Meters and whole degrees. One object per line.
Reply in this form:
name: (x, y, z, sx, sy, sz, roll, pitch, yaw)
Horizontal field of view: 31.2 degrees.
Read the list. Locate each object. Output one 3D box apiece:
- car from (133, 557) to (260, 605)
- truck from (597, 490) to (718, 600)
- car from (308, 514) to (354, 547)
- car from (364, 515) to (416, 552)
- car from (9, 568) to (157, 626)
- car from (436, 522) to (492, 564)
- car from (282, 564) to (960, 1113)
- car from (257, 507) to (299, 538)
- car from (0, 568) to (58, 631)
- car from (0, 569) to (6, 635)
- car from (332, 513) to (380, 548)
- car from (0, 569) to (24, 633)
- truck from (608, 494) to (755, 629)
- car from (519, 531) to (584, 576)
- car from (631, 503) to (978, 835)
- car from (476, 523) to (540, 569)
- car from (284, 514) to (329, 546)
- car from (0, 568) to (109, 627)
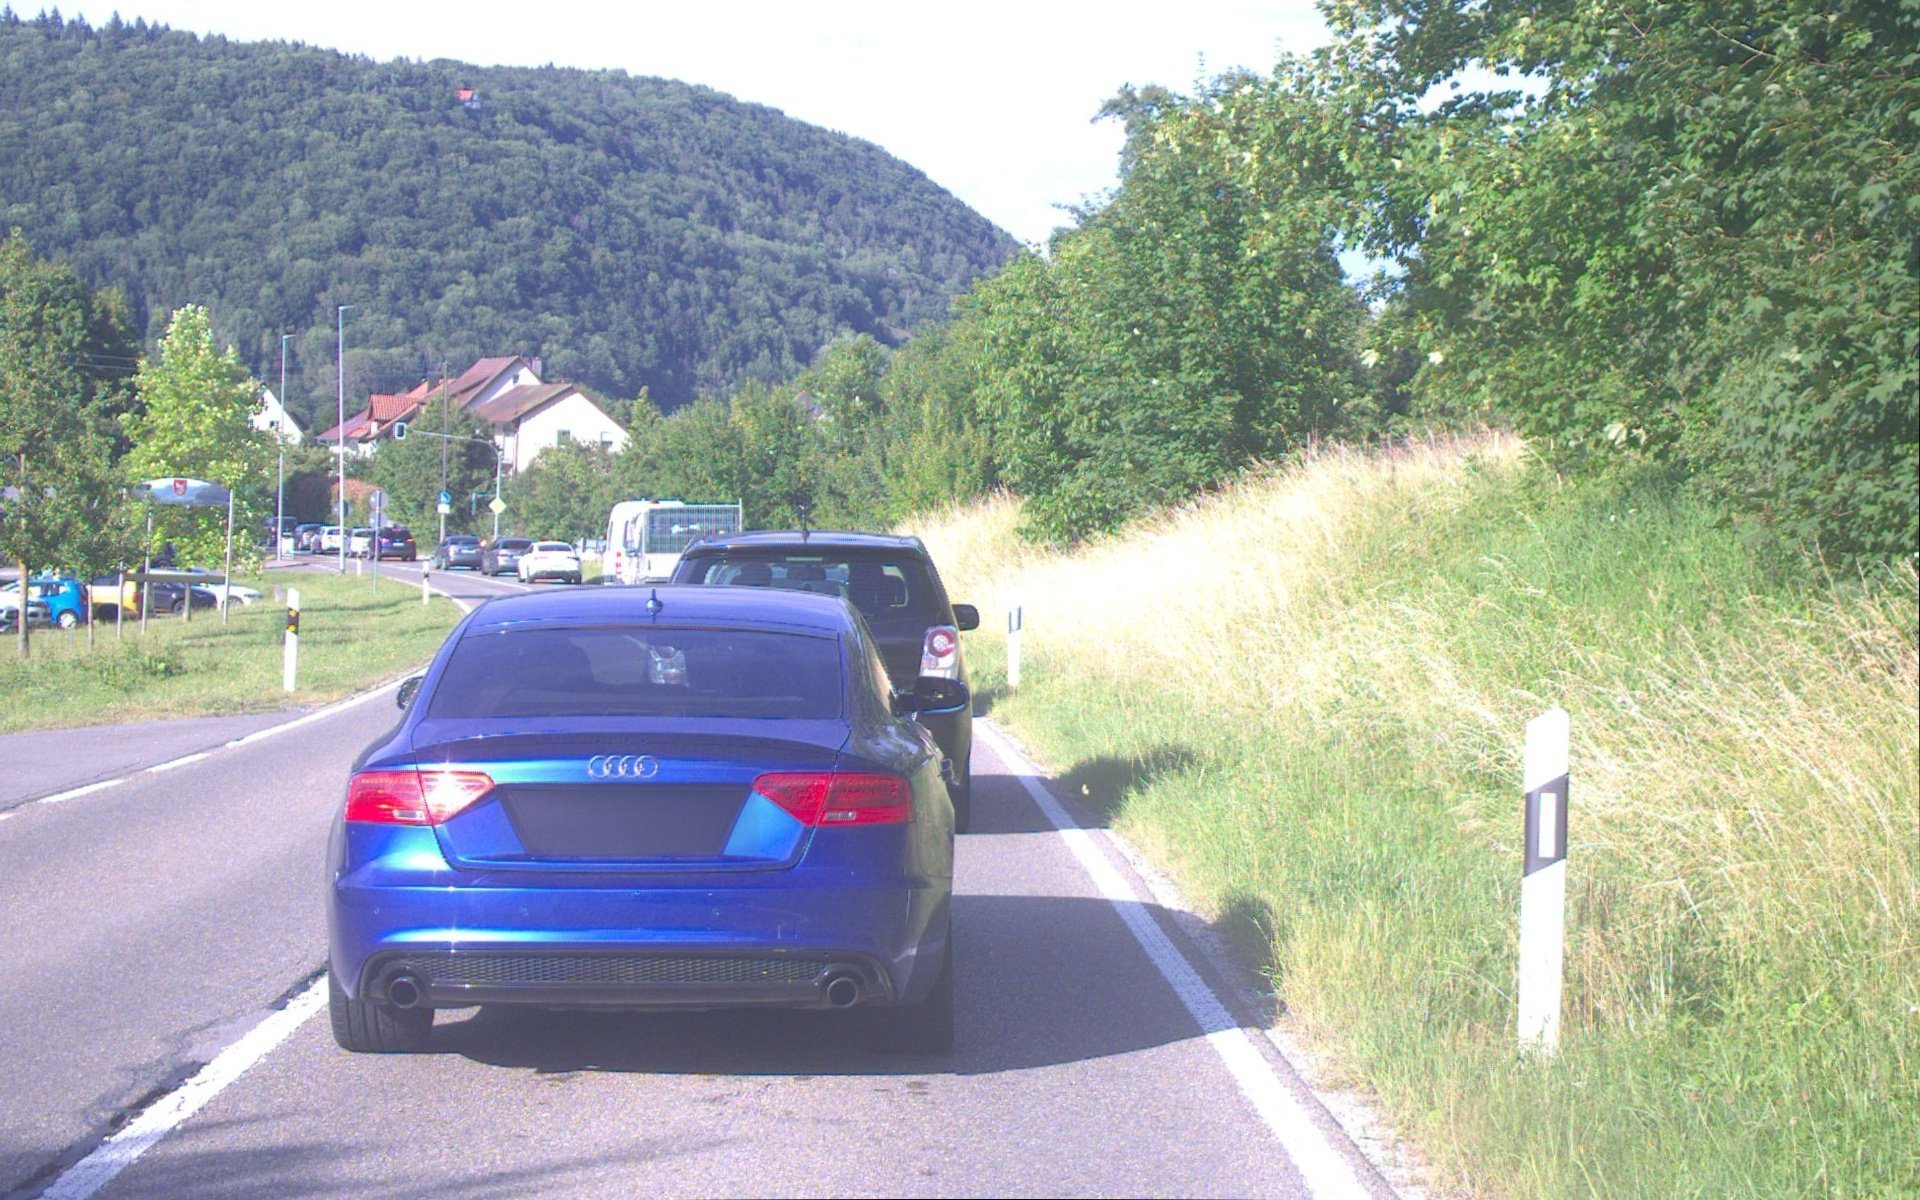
car: (-26.313, -0.666, 118.560, 3.986, 1.573, 1.753, 1, 0, -3)
truck: (-7.461, -1.325, 84.237, 2.229, 2.561, 6.709, 1, 0, -11)
car: (-33.254, -3.675, 181.625, 1.845, 1.706, 4.001, 1, 0, -18)
car: (-27.143, -3.147, 163.698, 1.845, 1.706, 4.001, 1, 0, -18)
car: (-26.512, -0.100, 104.000, 3.986, 1.705, 2.000, 1, 0, -3)
car: (-20.847, -2.387, 144.289, 1.845, 1.706, 4.001, 1, 0, -15)
car: (-0.895, 0.613, 11.001, 1.754, 1.425, 3.846, 1, 0, 0)
car: (-38.936, -4.442, 196.353, 1.845, 1.706, 4.001, 1, 0, -18)
car: (-27.302, -0.037, 95.538, 3.986, 1.705, 2.000, 1, 0, -3)
car: (-26.842, 0.030, 88.597, 3.986, 1.705, 2.000, 1, 0, -3)
car: (-30.479, -3.494, 173.381, 1.845, 1.706, 4.001, 1, 0, -18)
car: (-27.364, -0.009, 92.253, 3.986, 1.705, 2.000, 1, 0, -3)
truck: (-5.625, -0.763, 68.703, 2.229, 2.561, 6.105, 1, 0, -11)
car: (-13.934, -1.580, 117.250, 1.845, 1.477, 4.001, 1, 0, -12)
car: (-0.786, 0.336, 19.510, 1.754, 1.675, 3.846, 1, 0, 0)
car: (-17.104, -2.025, 129.954, 1.845, 1.706, 4.001, 1, 0, -15)
car: (-35.987, -3.856, 189.360, 1.845, 1.706, 4.001, 1, 0, -19)
car: (-27.312, -0.087, 101.325, 3.986, 1.705, 2.000, 1, 0, -3)
